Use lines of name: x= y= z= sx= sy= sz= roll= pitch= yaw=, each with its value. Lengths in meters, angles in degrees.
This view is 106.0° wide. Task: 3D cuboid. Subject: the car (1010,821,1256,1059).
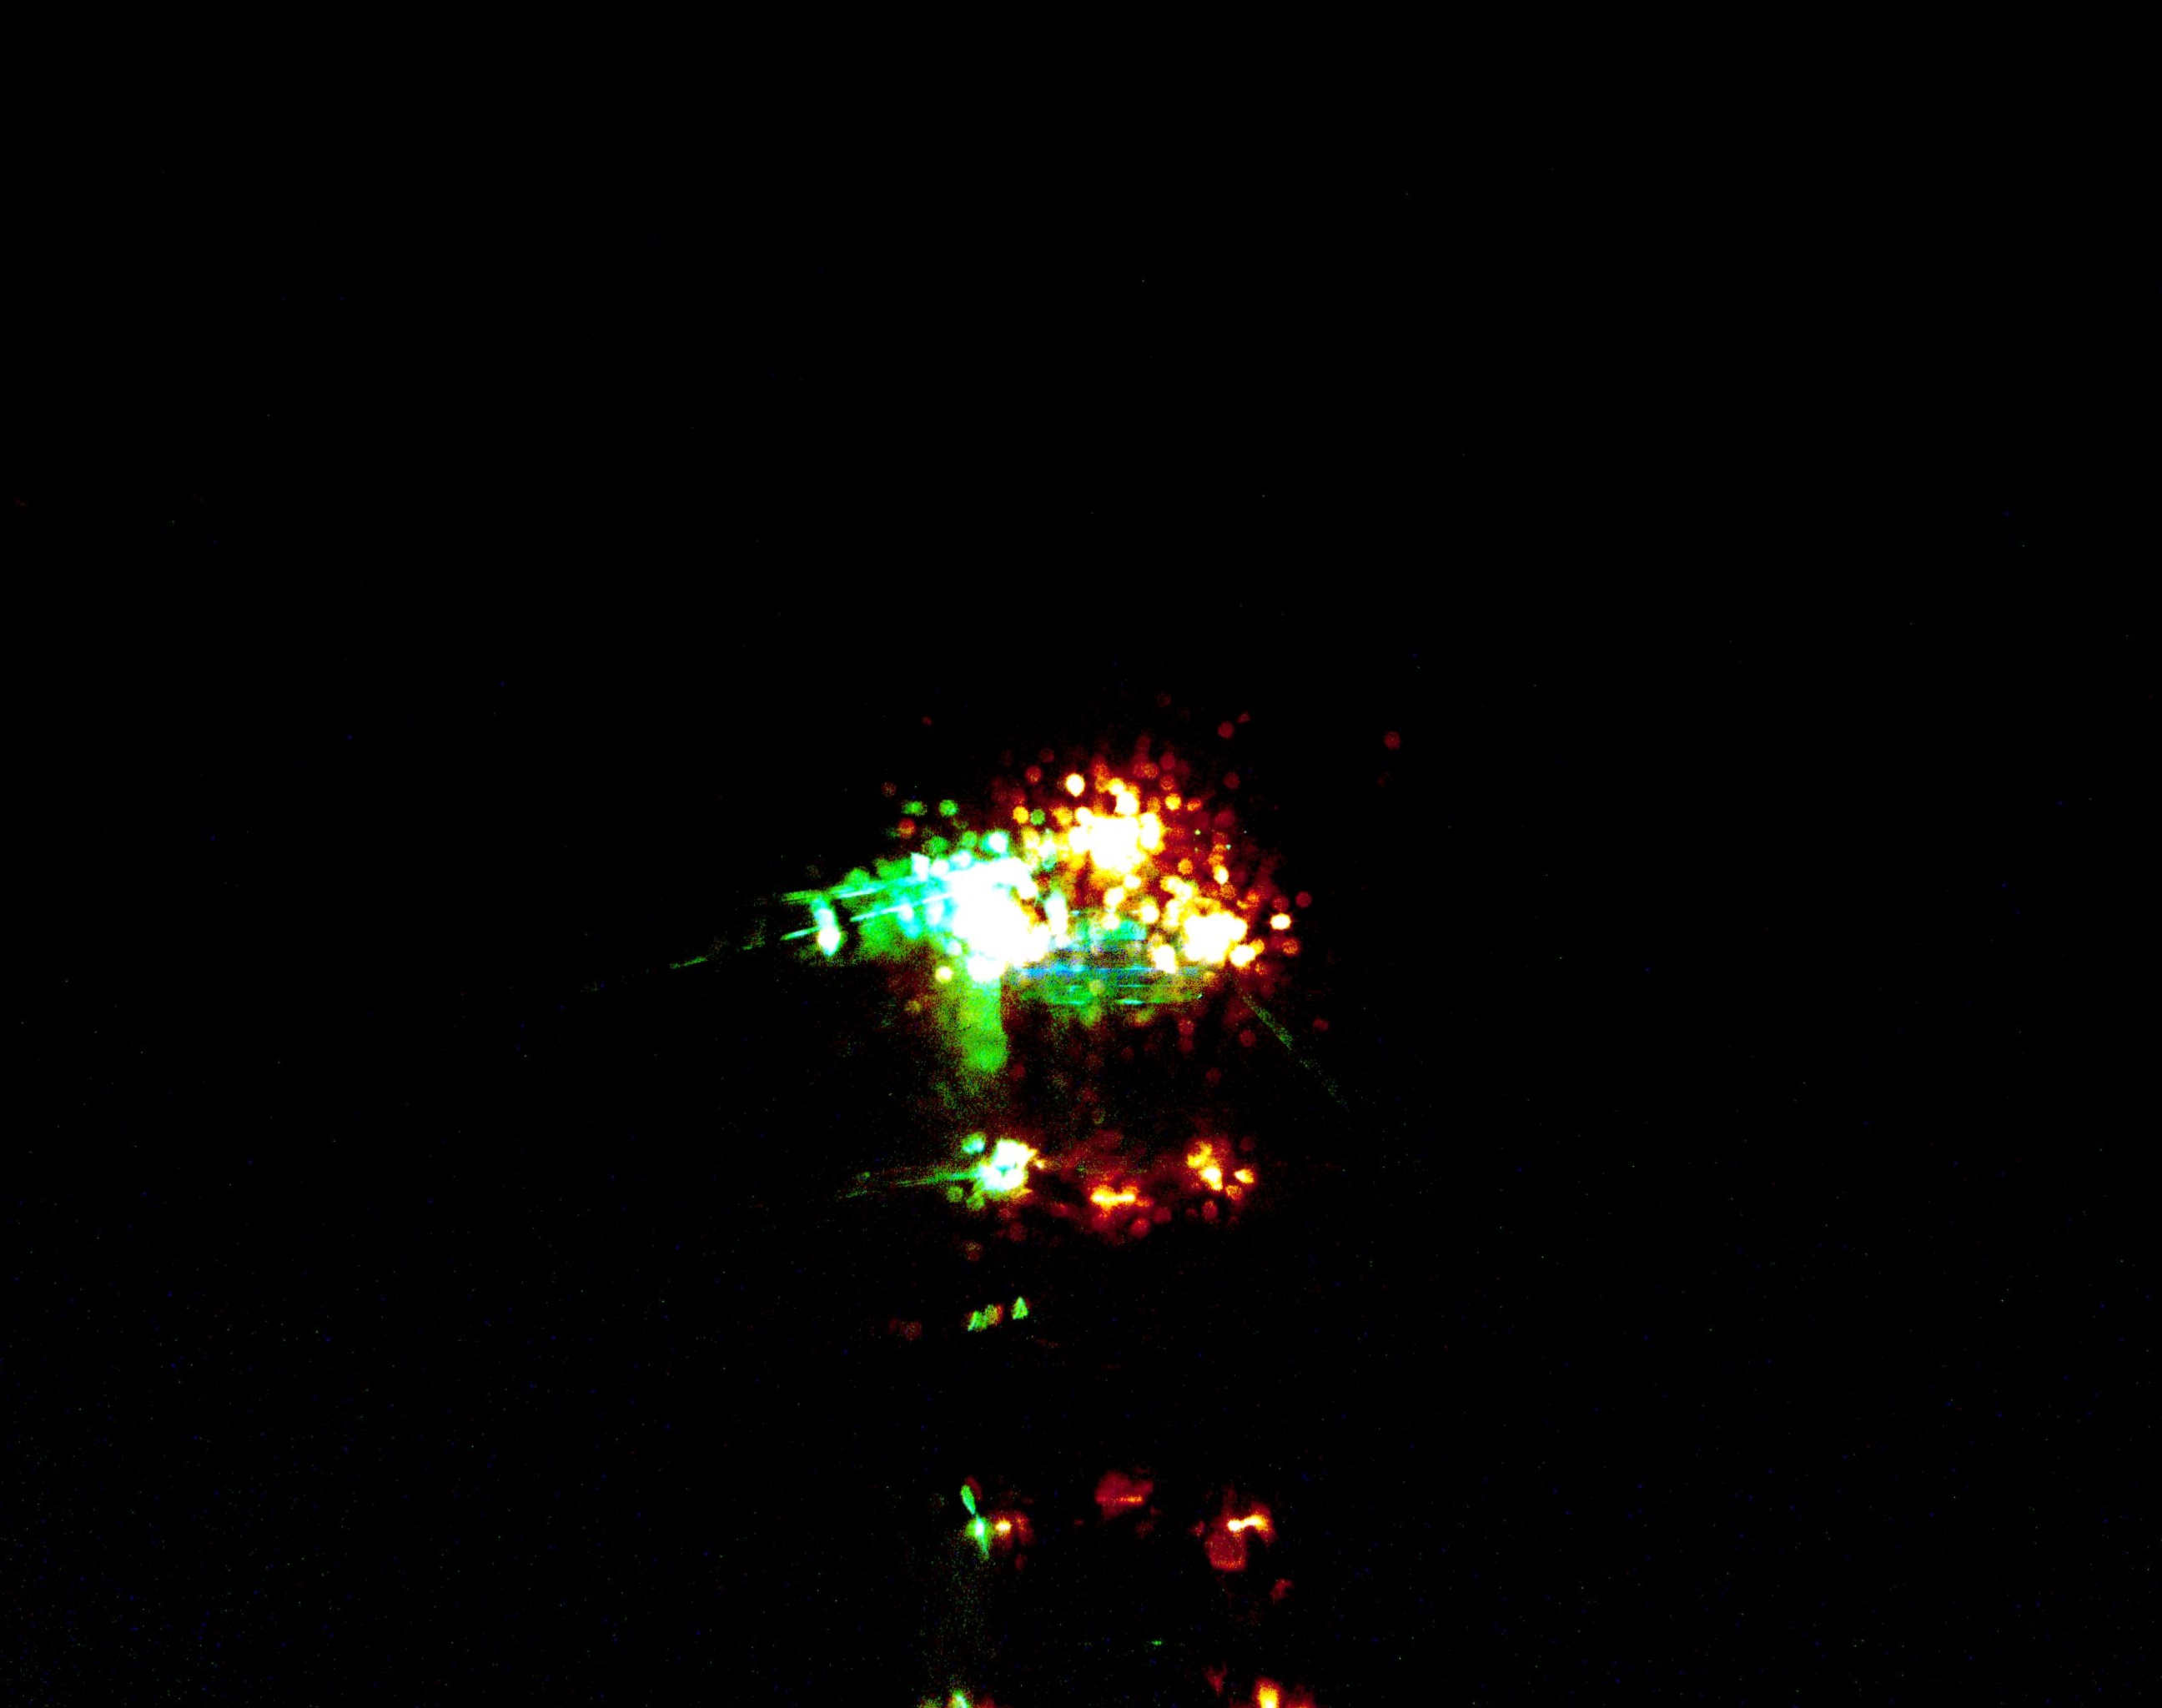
car: x=0.457 y=0.627 z=7.907 sx=1.768 sy=1.712 sz=4.002 roll=-1 pitch=0 yaw=2

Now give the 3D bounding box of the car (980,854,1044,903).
car: x=-2.513 y=0.855 z=30.583 sx=1.945 sy=1.656 sz=4.124 roll=-2 pitch=0 yaw=0

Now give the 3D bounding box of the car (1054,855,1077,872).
car: x=-1.412 y=0.857 z=74.502 sx=1.897 sy=1.470 sz=4.275 roll=1 pitch=0 yaw=1

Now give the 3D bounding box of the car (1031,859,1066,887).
car: x=-1.879 y=1.086 z=48.574 sx=1.831 sy=1.546 sz=4.258 roll=0 pitch=0 yaw=1
